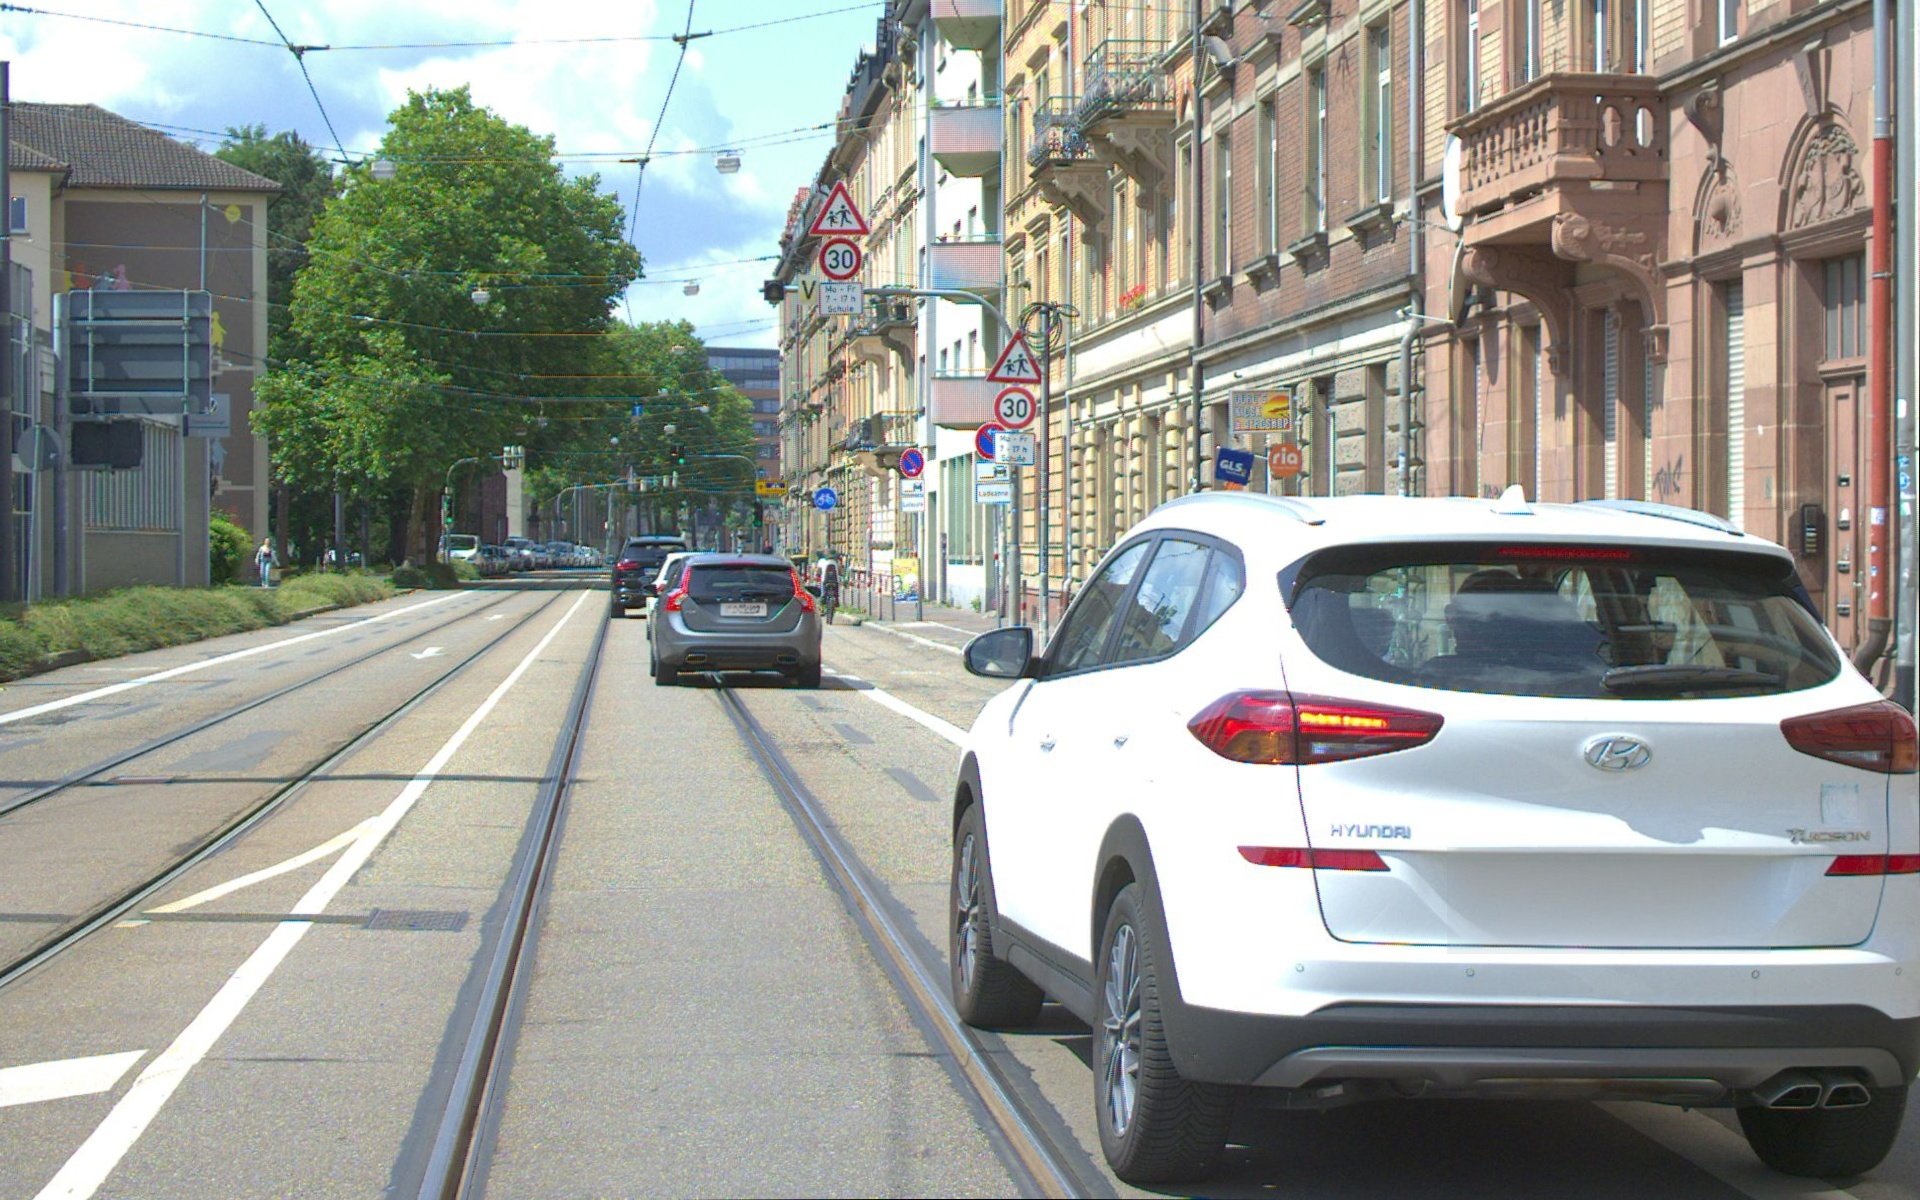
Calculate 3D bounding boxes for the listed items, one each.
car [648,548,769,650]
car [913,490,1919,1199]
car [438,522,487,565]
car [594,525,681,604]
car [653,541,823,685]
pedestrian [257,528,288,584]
[{"bbox_3d":[-4.026,-0.034,54.599,1.814,1.519,3.956,-1,1,-5],"label":"car"},{"bbox_3d":[1.053,0.544,9.318,1.852,1.628,4.182,0,1,-8],"label":"car"},{"bbox_3d":[-22.620,-2.597,156.510,1.949,1.888,4.566,1,1,-6],"label":"car"},{"bbox_3d":[-7.014,-0.794,74.729,1.814,1.656,4.086,0,1,-5],"label":"car"},{"bbox_3d":[-2.449,0.102,38.696,1.814,1.519,4.086,0,1,-2],"label":"car"},{"bbox_3d":[-22.917,-1.468,114.656,0.880,1.859,1.081,-1,1,-5],"label":"pedestrian"}]
